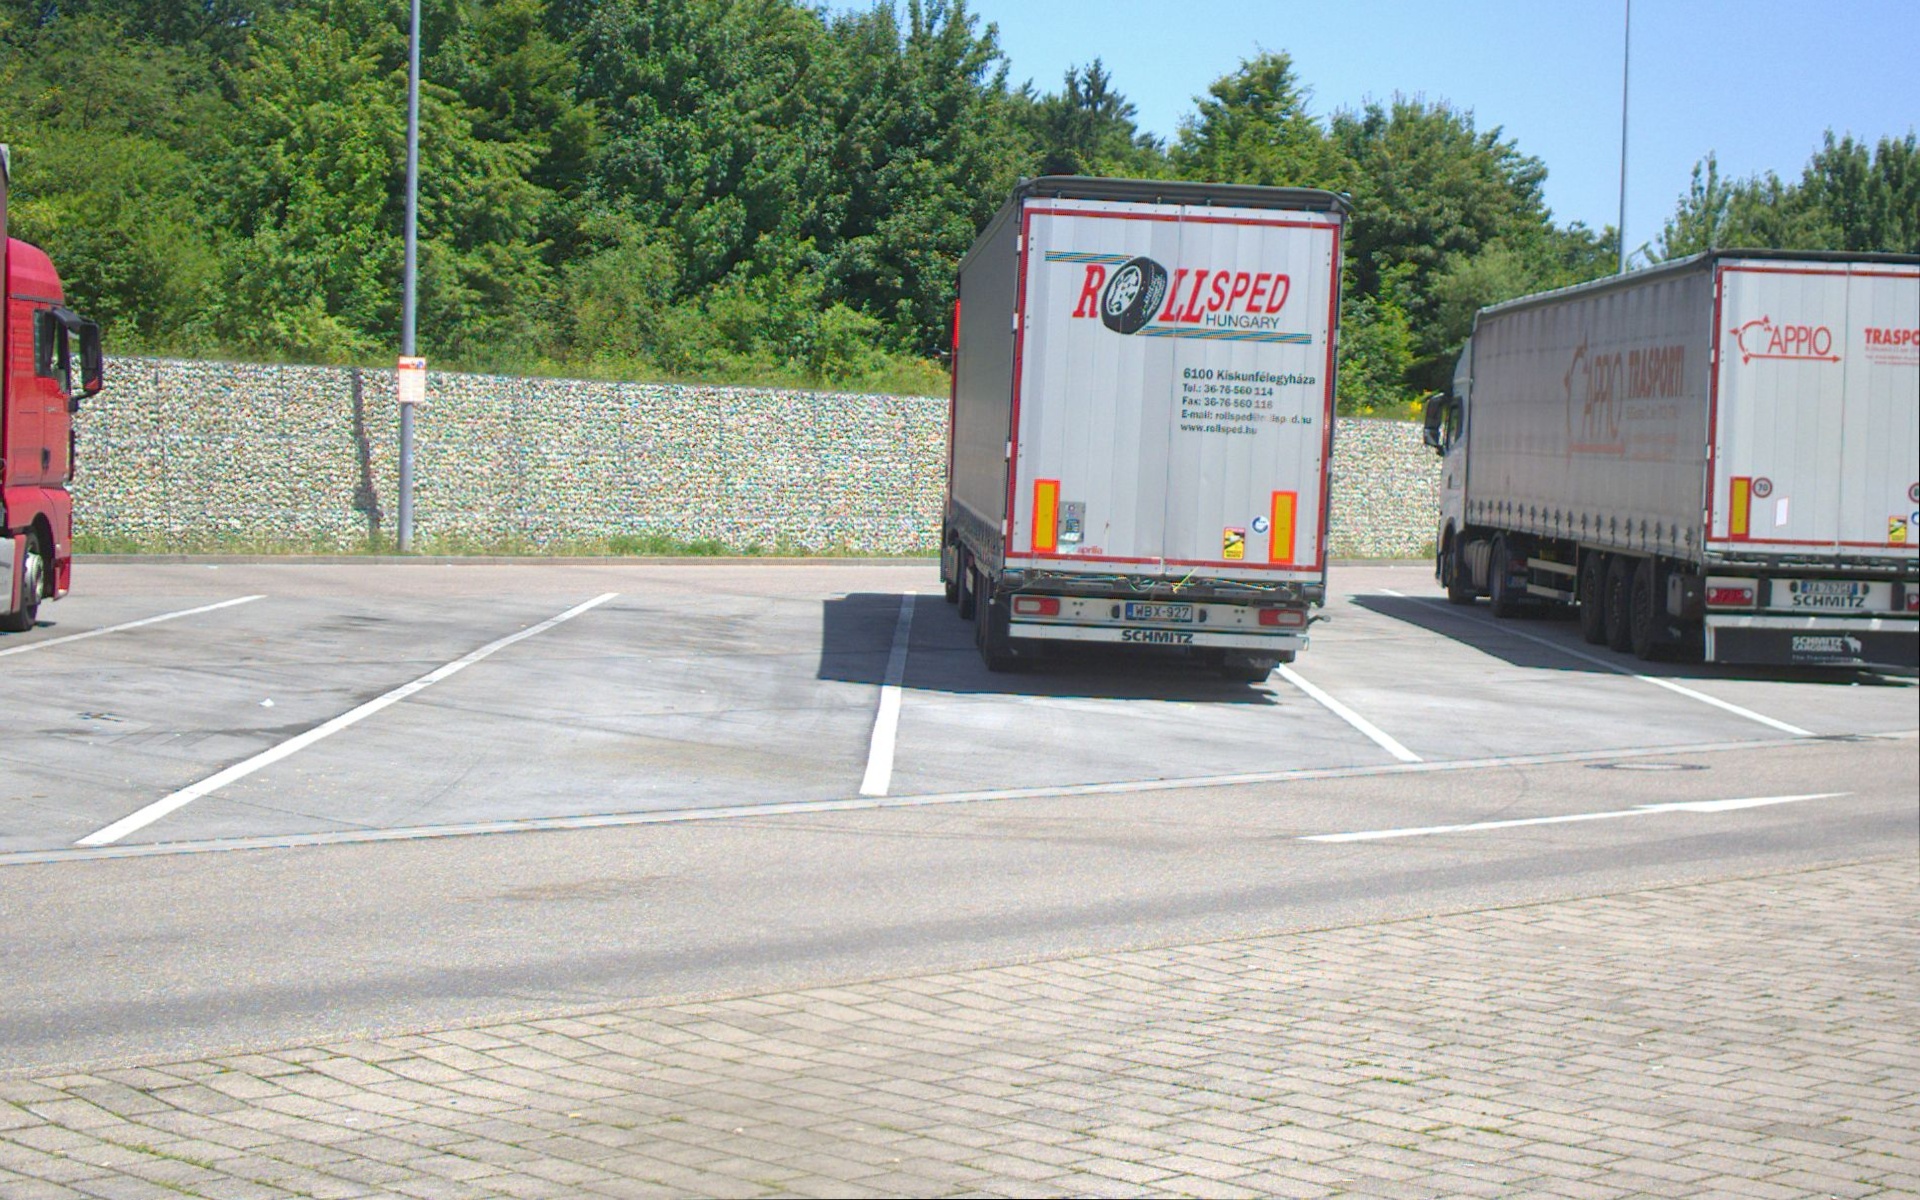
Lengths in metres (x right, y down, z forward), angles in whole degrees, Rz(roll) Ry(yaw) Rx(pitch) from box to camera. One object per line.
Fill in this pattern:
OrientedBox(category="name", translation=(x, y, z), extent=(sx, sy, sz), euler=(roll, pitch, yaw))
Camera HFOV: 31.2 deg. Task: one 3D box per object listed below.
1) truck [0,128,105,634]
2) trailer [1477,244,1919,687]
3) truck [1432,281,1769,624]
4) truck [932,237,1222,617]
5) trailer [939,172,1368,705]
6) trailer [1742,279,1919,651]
OrientedBox(category="truck", translation=(-9.143, -1.817, 27.992), extent=(2.696, 4.099, 6.240), euler=(2, 3, 0))
OrientedBox(category="trailer", translation=(8.190, -1.570, 37.966), extent=(2.866, 4.023, 12.439), euler=(2, 3, 0))
OrientedBox(category="truck", translation=(8.132, -1.953, 44.593), extent=(2.866, 4.023, 6.957), euler=(2, 3, 0))
OrientedBox(category="truck", translation=(1.234, -2.059, 40.708), extent=(2.866, 4.023, 7.028), euler=(2, 3, -2))
OrientedBox(category="trailer", translation=(1.445, -1.639, 33.630), extent=(2.866, 4.023, 14.243), euler=(2, 3, -2))
OrientedBox(category="trailer", translation=(11.845, -1.529, 39.029), extent=(2.866, 4.023, 12.439), euler=(2, 3, 0))
